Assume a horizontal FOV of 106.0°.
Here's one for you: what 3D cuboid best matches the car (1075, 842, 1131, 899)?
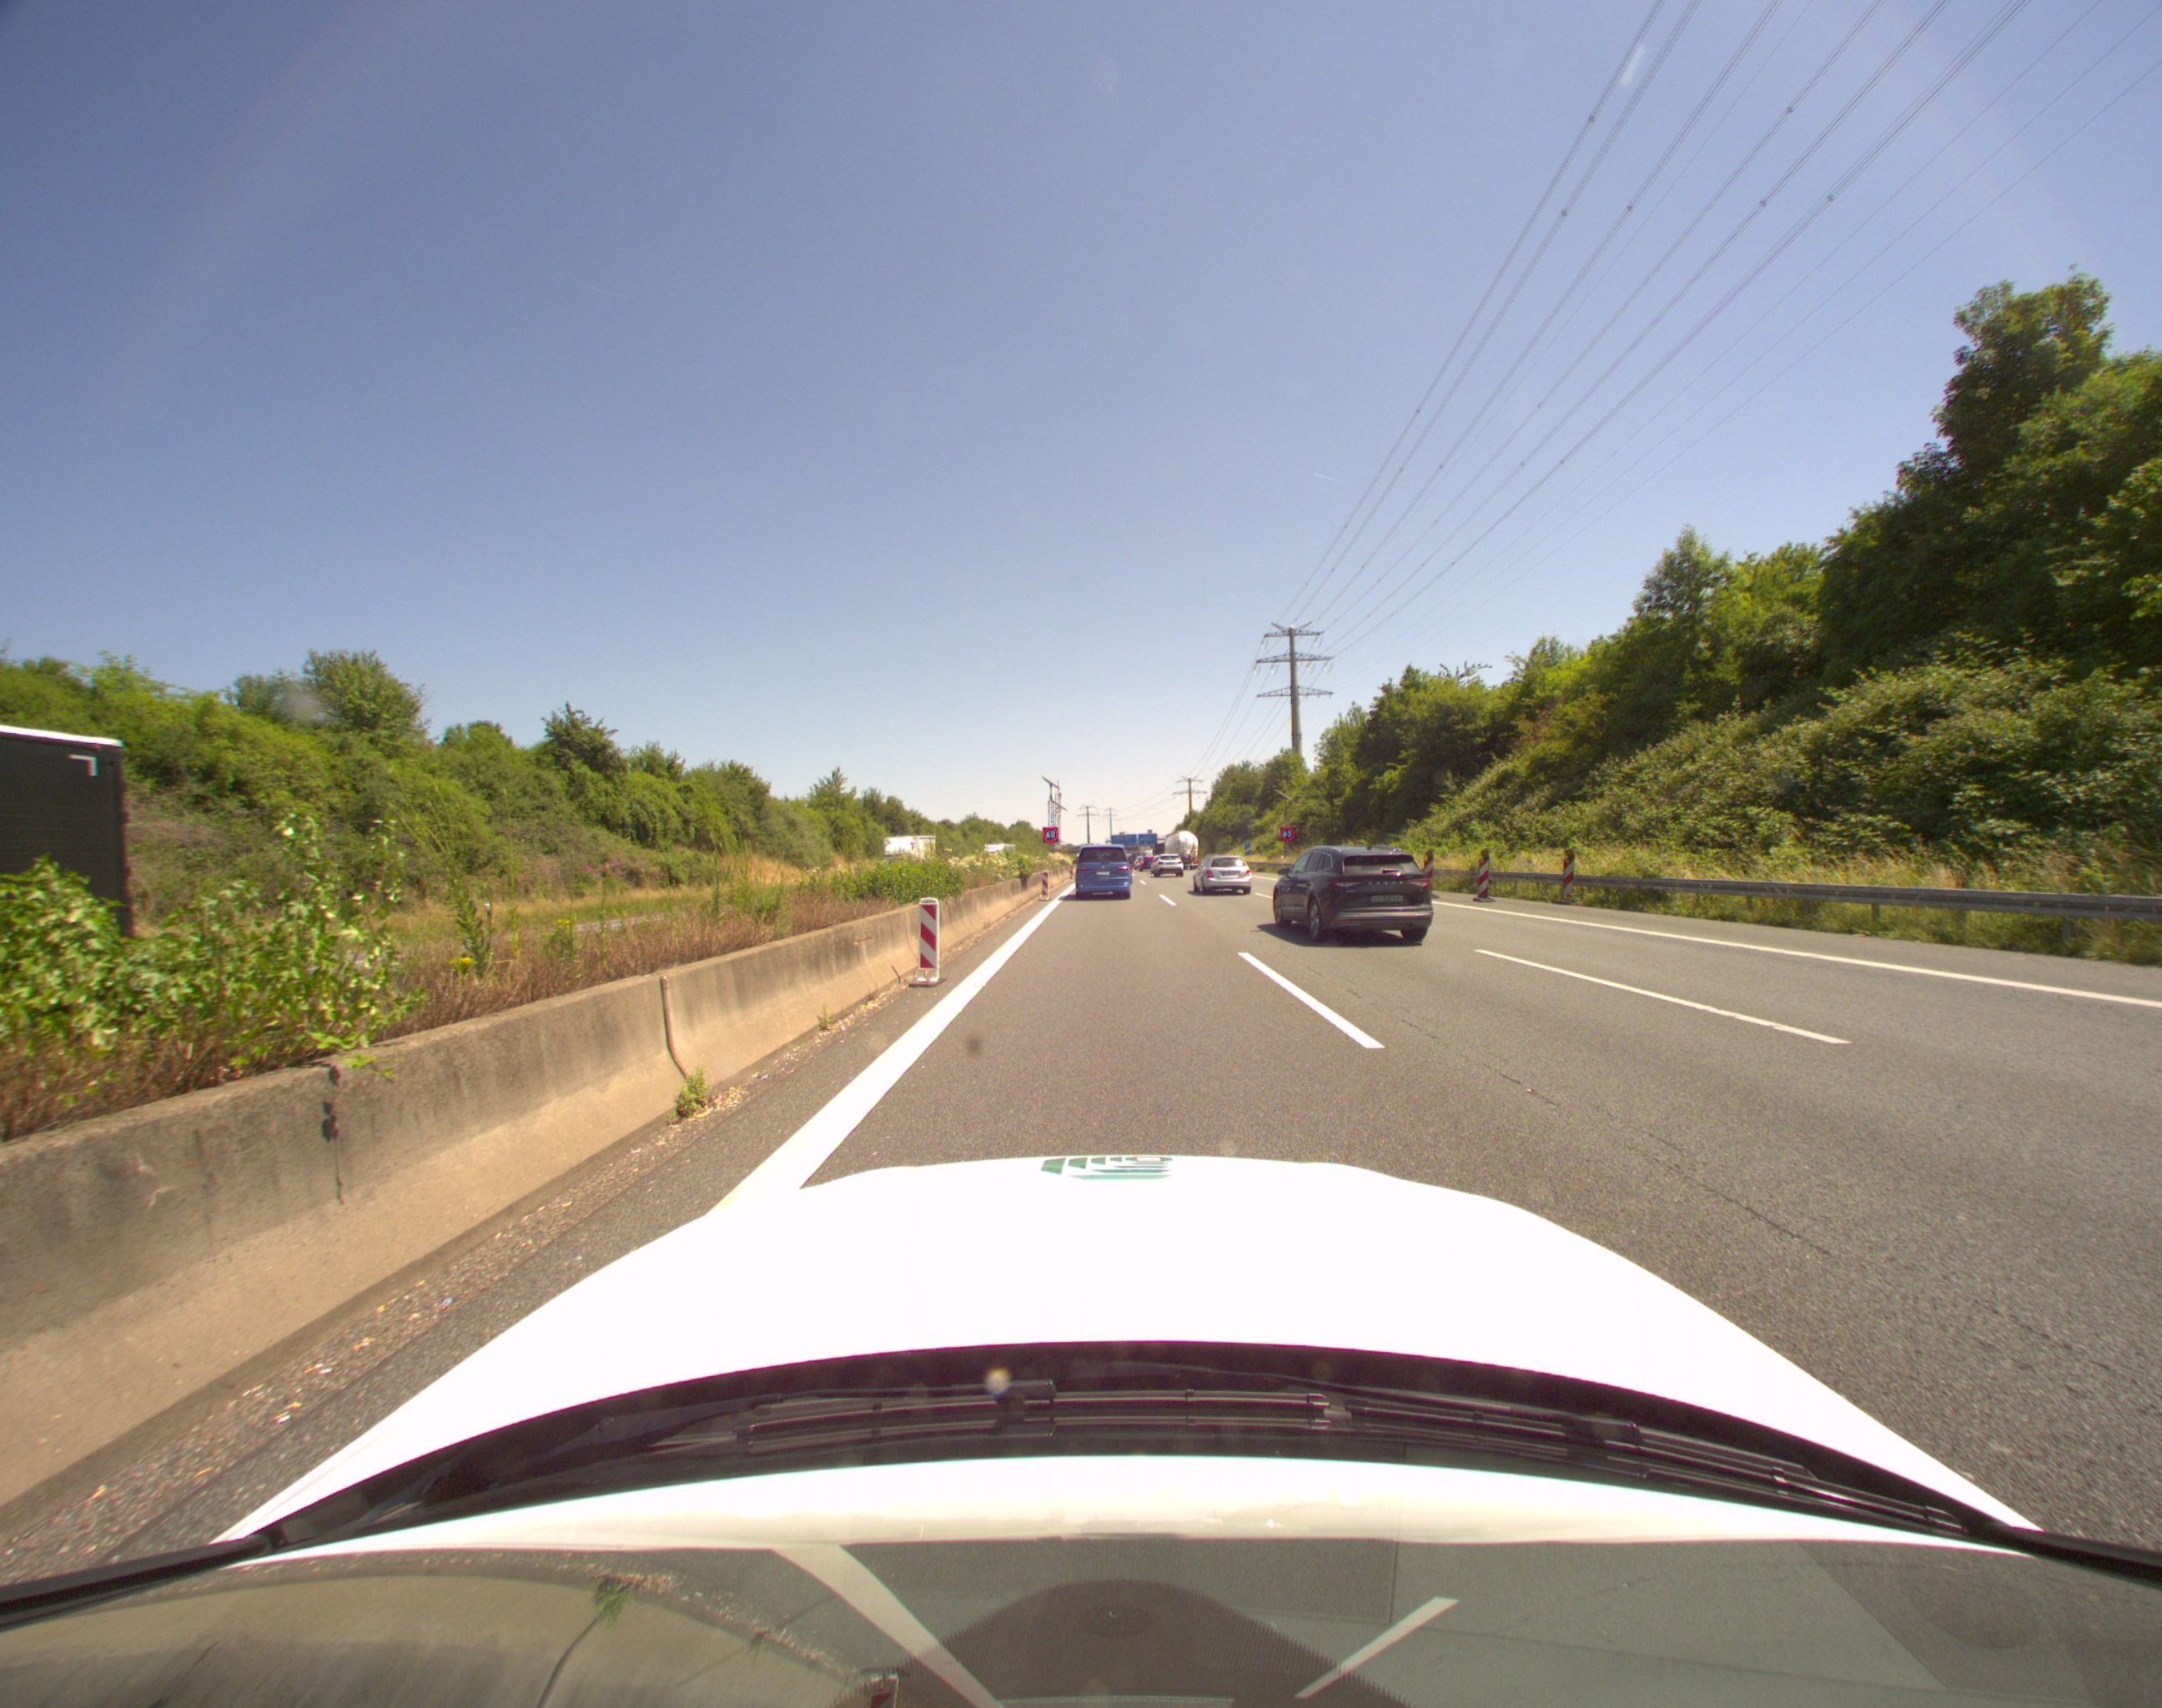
[{"bbox_3d":[0.719,0.555,29.221,1.865,1.879,4.382,0,0,0],"label":"car"}]

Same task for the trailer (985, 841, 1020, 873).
[{"bbox_3d":[-11.350,0.406,119.308,3.005,4.166,14.025,-5,0,2],"label":"trailer"}]

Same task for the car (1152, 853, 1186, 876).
[{"bbox_3d":[5.966,0.683,55.452,1.902,1.508,3.921,0,0,0],"label":"car"}]

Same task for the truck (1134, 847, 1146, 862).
[{"bbox_3d":[18.160,0.175,252.658,2.928,4.291,12.552,0,0,1],"label":"truck"}]

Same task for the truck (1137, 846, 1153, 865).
[{"bbox_3d":[15.046,0.450,191.523,2.928,4.291,12.552,0,0,1],"label":"truck"}]

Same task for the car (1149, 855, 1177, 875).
[{"bbox_3d":[6.679,0.885,66.667,1.902,1.569,4.383,0,0,0],"label":"car"}]

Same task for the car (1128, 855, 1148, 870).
[{"bbox_3d":[6.209,0.915,89.077,1.902,1.516,4.383,0,0,0],"label":"car"}]

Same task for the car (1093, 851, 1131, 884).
[{"bbox_3d":[1.581,0.705,43.535,1.902,1.631,4.384,-1,0,1],"label":"car"}]

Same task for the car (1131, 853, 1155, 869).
[{"bbox_3d":[5.824,0.648,76.653,1.902,1.516,4.383,0,0,0],"label":"car"}]

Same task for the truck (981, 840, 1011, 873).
[{"bbox_3d":[-11.620,0.377,111.532,3.006,4.166,5.807,-5,0,2],"label":"truck"}]

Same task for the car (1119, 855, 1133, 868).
[{"bbox_3d":[6.923,1.106,126.108,1.987,2.014,4.000,0,0,1],"label":"car"}]

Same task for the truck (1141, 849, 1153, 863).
[{"bbox_3d":[12.915,0.464,159.458,1.987,2.723,5.680,0,0,1],"label":"truck"}]

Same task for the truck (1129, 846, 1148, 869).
[{"bbox_3d":[7.189,0.451,101.857,1.987,2.723,5.680,0,0,1],"label":"truck"}]

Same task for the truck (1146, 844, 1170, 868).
[{"bbox_3d":[11.580,0.313,123.105,2.635,3.539,12.552,0,0,1],"label":"truck"}]

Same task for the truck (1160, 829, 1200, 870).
[{"bbox_3d":[10.503,-0.405,88.057,2.635,4.072,16.442,0,0,1],"label":"truck"}]

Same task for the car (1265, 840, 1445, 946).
[{"bbox_3d":[4.735,0.600,14.799,1.822,1.614,4.431,-1,0,1],"label":"car"}]

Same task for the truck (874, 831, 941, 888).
[{"bbox_3d":[-13.320,0.433,63.349,2.753,3.888,9.031,-5,0,1],"label":"truck"}]

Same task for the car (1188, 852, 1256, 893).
[{"bbox_3d":[5.243,0.663,30.809,1.815,1.437,4.383,0,0,0],"label":"car"}]

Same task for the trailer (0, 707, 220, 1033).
[{"bbox_3d":[-15.245,0.276,5.740,2.743,4.166,14.200,-5,0,1],"label":"trailer"}]
